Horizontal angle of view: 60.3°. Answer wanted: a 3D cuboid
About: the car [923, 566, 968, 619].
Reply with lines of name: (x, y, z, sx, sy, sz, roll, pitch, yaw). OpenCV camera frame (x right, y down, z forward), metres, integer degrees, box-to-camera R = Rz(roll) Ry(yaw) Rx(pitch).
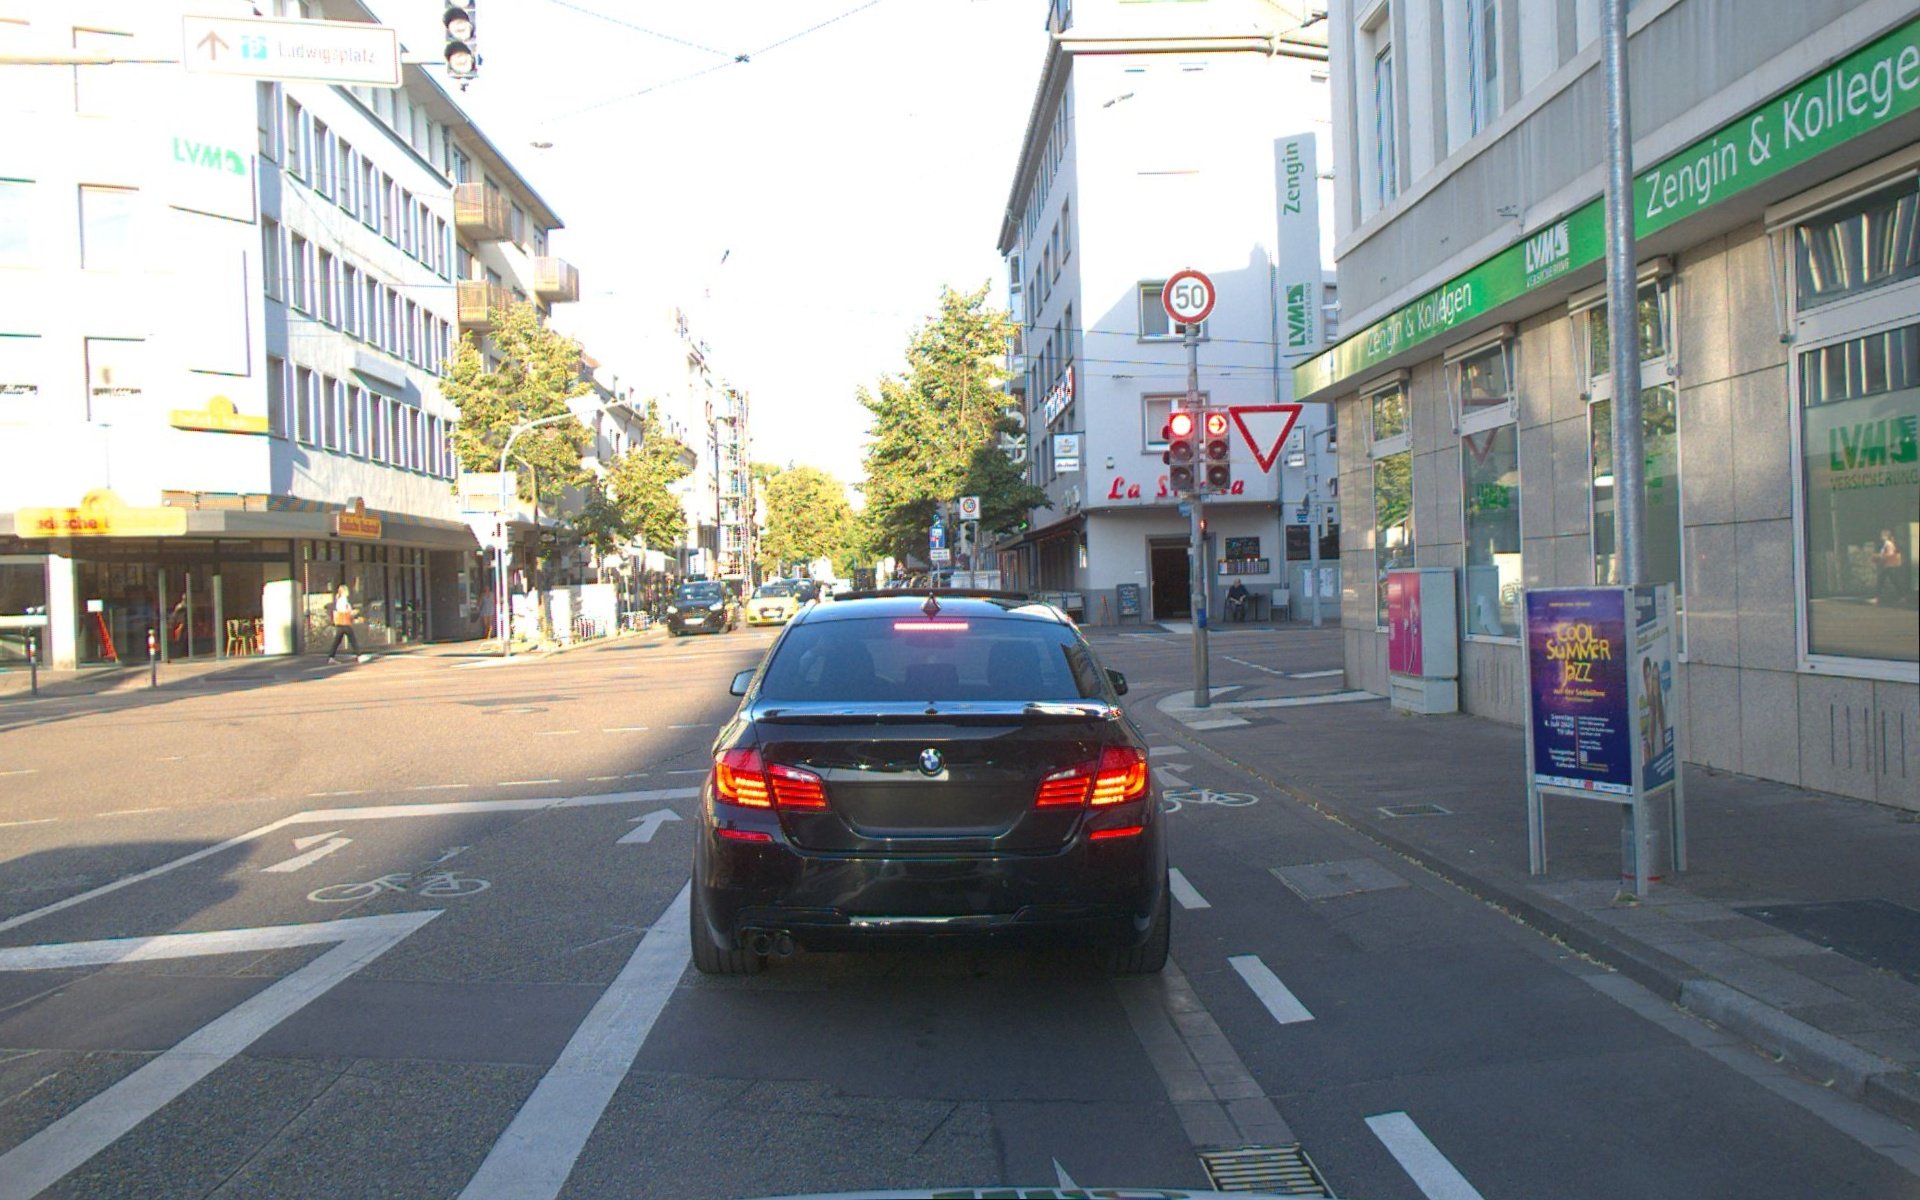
car: (-0.556, -0.285, 60.988, 1.393, 1.887, 3.049, -1, 0, -5)

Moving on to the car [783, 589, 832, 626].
car: (-5.952, 0.259, 64.348, 1.701, 1.315, 3.993, -2, 1, -8)

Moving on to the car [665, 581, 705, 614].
car: (-13.088, -0.128, 78.816, 1.701, 1.487, 3.993, -2, 1, -8)

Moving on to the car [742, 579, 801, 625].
car: (-6.593, 0.056, 57.569, 1.956, 1.467, 3.993, -2, 1, -8)

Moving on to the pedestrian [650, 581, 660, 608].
pedestrian: (-16.289, -0.291, 88.269, 0.435, 1.441, 0.525, -1, 0, -4)

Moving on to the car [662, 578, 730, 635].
car: (-8.278, 0.174, 52.105, 1.956, 1.646, 3.993, -2, 1, -8)

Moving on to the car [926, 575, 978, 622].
car: (-0.290, -0.058, 54.593, 1.593, 1.497, 3.393, -1, 0, -3)

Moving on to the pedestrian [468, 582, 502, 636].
pedestrian: (-15.292, 0.273, 53.287, 0.807, 1.705, 0.871, -2, 0, -3)

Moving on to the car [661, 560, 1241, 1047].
car: (-0.137, 0.639, 7.596, 1.865, 1.567, 4.447, 1, 1, -3)

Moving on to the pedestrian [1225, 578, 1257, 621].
pedestrian: (7.880, -0.025, 46.434, 0.683, 1.177, 0.843, -2, 0, -4)

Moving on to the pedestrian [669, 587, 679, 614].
pedestrian: (-15.415, 0.013, 89.016, 0.435, 1.441, 0.525, -2, 0, -4)

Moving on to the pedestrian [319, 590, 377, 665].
pedestrian: (-13.310, 0.595, 35.967, 0.939, 1.564, 0.897, -2, 0, -37)
